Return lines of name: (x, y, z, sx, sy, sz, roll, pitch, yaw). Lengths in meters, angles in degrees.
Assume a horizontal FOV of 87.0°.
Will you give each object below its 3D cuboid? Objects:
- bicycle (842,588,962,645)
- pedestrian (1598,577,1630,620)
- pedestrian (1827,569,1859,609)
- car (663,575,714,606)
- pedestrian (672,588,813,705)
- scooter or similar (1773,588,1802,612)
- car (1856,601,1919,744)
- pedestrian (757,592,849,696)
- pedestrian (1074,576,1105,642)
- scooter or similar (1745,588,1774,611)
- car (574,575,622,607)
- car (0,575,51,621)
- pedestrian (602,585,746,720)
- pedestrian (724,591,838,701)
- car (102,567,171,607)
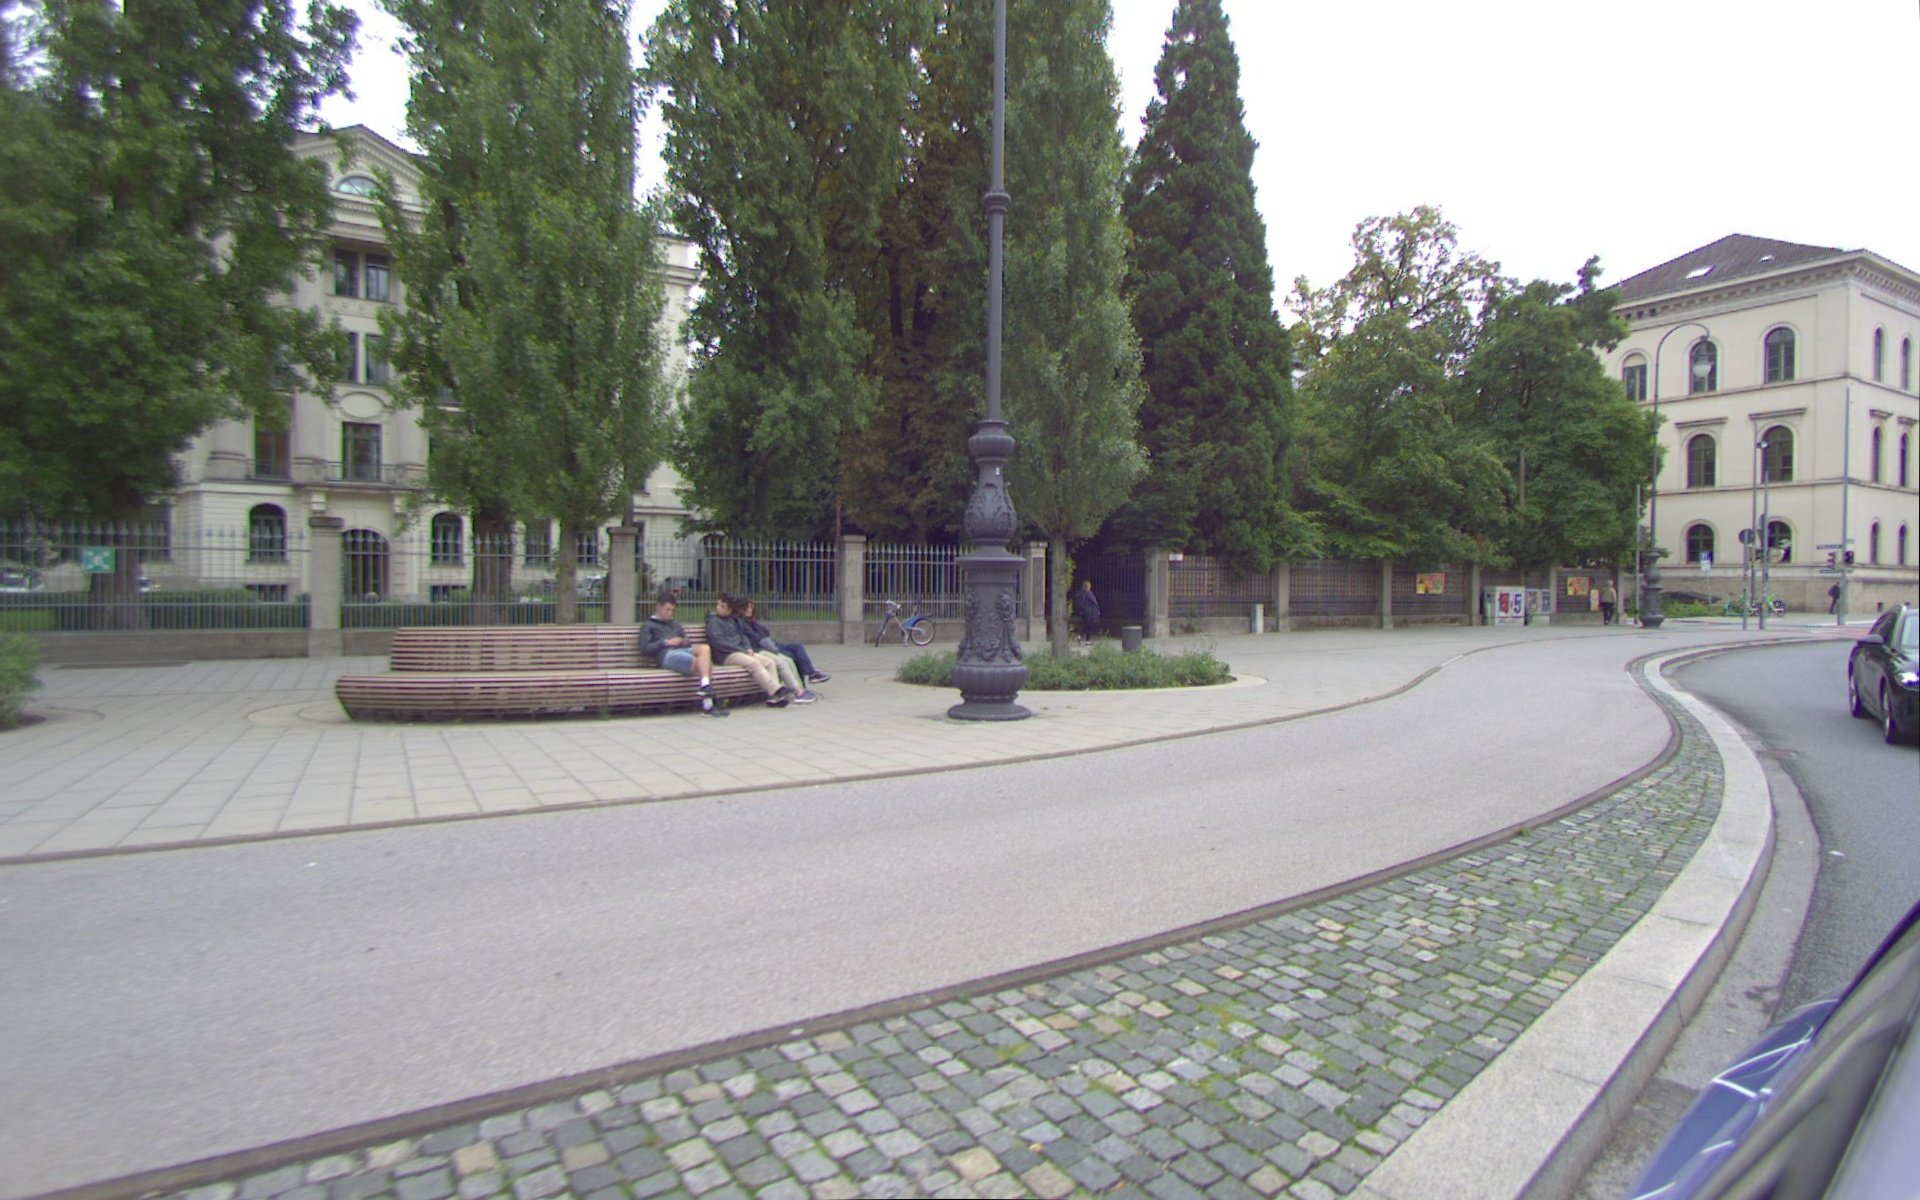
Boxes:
bicycle: (-1.327, 0.366, 23.867, 2.944, 1.255, 0.674, 0, 2, -37)
pedestrian: (25.235, -0.068, 39.046, 0.801, 1.618, 0.740, 0, 1, -29)
pedestrian: (46.464, -0.582, 53.244, 0.992, 2.039, 0.937, 1, 1, 24)
car: (-14.664, -0.504, 54.504, 1.911, 1.594, 4.274, 0, 0, -26)
pedestrian: (-2.415, 0.486, 11.237, 1.359, 1.222, 0.799, -1, 0, 31)
scooter or similar: (41.624, -0.009, 50.907, 1.623, 1.155, 0.569, 0, 1, -29)
car: (11.257, 0.693, 11.063, 1.914, 1.345, 4.350, -2, -1, 38)
pedestrian: (-1.937, 0.524, 12.480, 0.994, 1.229, 0.561, -1, 0, 30)
pedestrian: (3.257, 0.216, 25.455, 0.526, 1.640, 0.592, 0, 0, -30)
scooter or similar: (40.801, -0.012, 51.671, 1.623, 1.155, 0.569, 0, 1, -29)
car: (-19.051, -0.468, 53.144, 1.959, 1.594, 4.477, 0, 0, -26)
car: (-38.426, -0.106, 40.874, 1.764, 1.791, 4.004, 0, 1, -31)
pedestrian: (-2.940, 0.498, 10.377, 1.322, 1.291, 0.797, -1, 0, 38)
pedestrian: (-2.107, 0.518, 11.889, 1.256, 1.231, 0.569, -1, 0, 30)
car: (-35.062, -0.579, 43.189, 1.617, 1.638, 4.005, 0, 1, -29)
